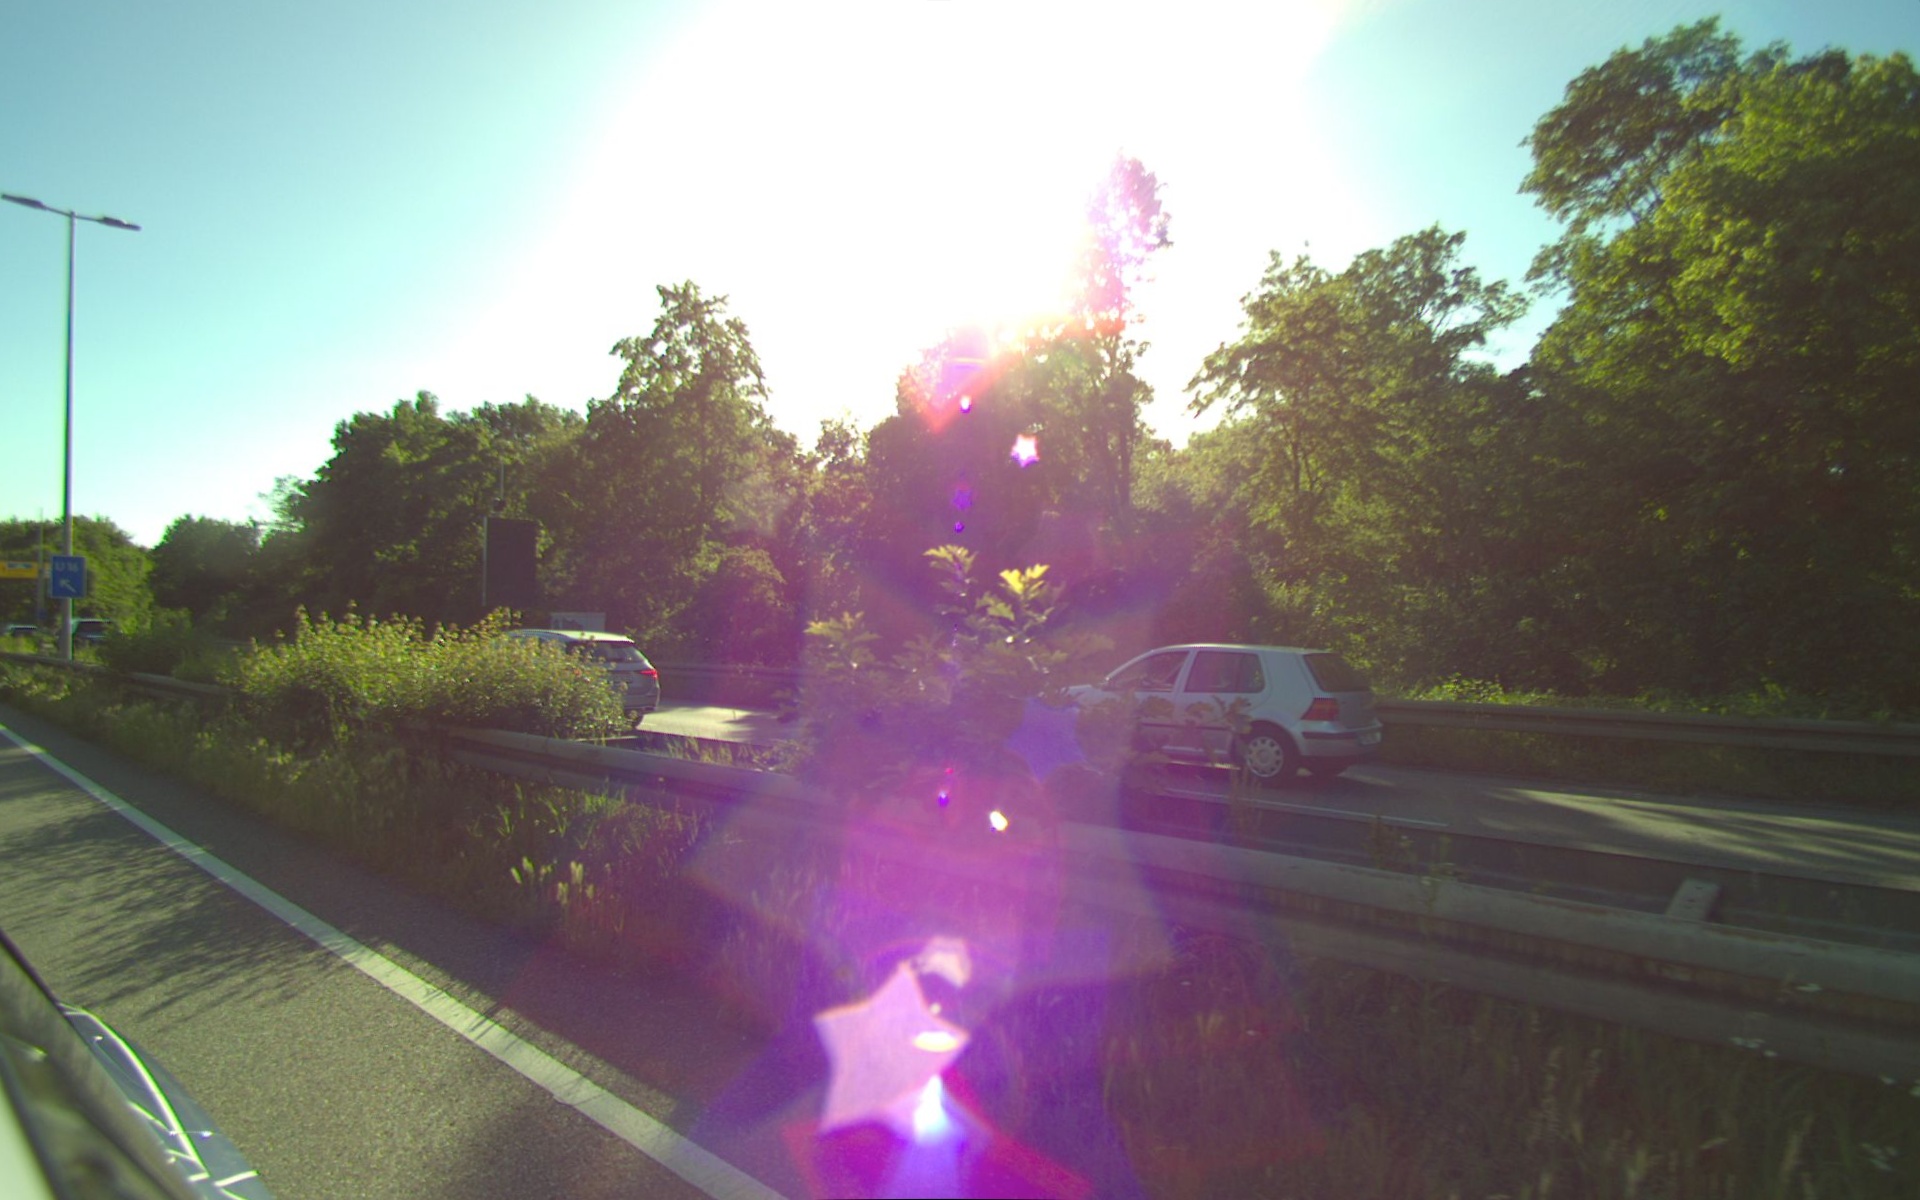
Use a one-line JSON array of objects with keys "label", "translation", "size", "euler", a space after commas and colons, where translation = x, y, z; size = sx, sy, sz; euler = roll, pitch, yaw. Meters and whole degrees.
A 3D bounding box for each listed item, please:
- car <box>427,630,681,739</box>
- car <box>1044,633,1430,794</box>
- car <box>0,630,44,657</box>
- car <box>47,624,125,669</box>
[{"label": "car", "translation": [-6.349, 1.193, 15.607], "size": [4.428, 1.461, 1.733], "euler": [-2, -2, 40]}, {"label": "car", "translation": [2.925, 1.117, 11.118], "size": [3.714, 1.461, 1.732], "euler": [-2, -4, 43]}, {"label": "car", "translation": [-55.799, 2.559, 60.158], "size": [4.609, 1.542, 1.600], "euler": [-2, -3, 43]}, {"label": "car", "translation": [-36.199, 1.903, 41.884], "size": [4.710, 1.771, 1.822], "euler": [-2, -3, 42]}]
